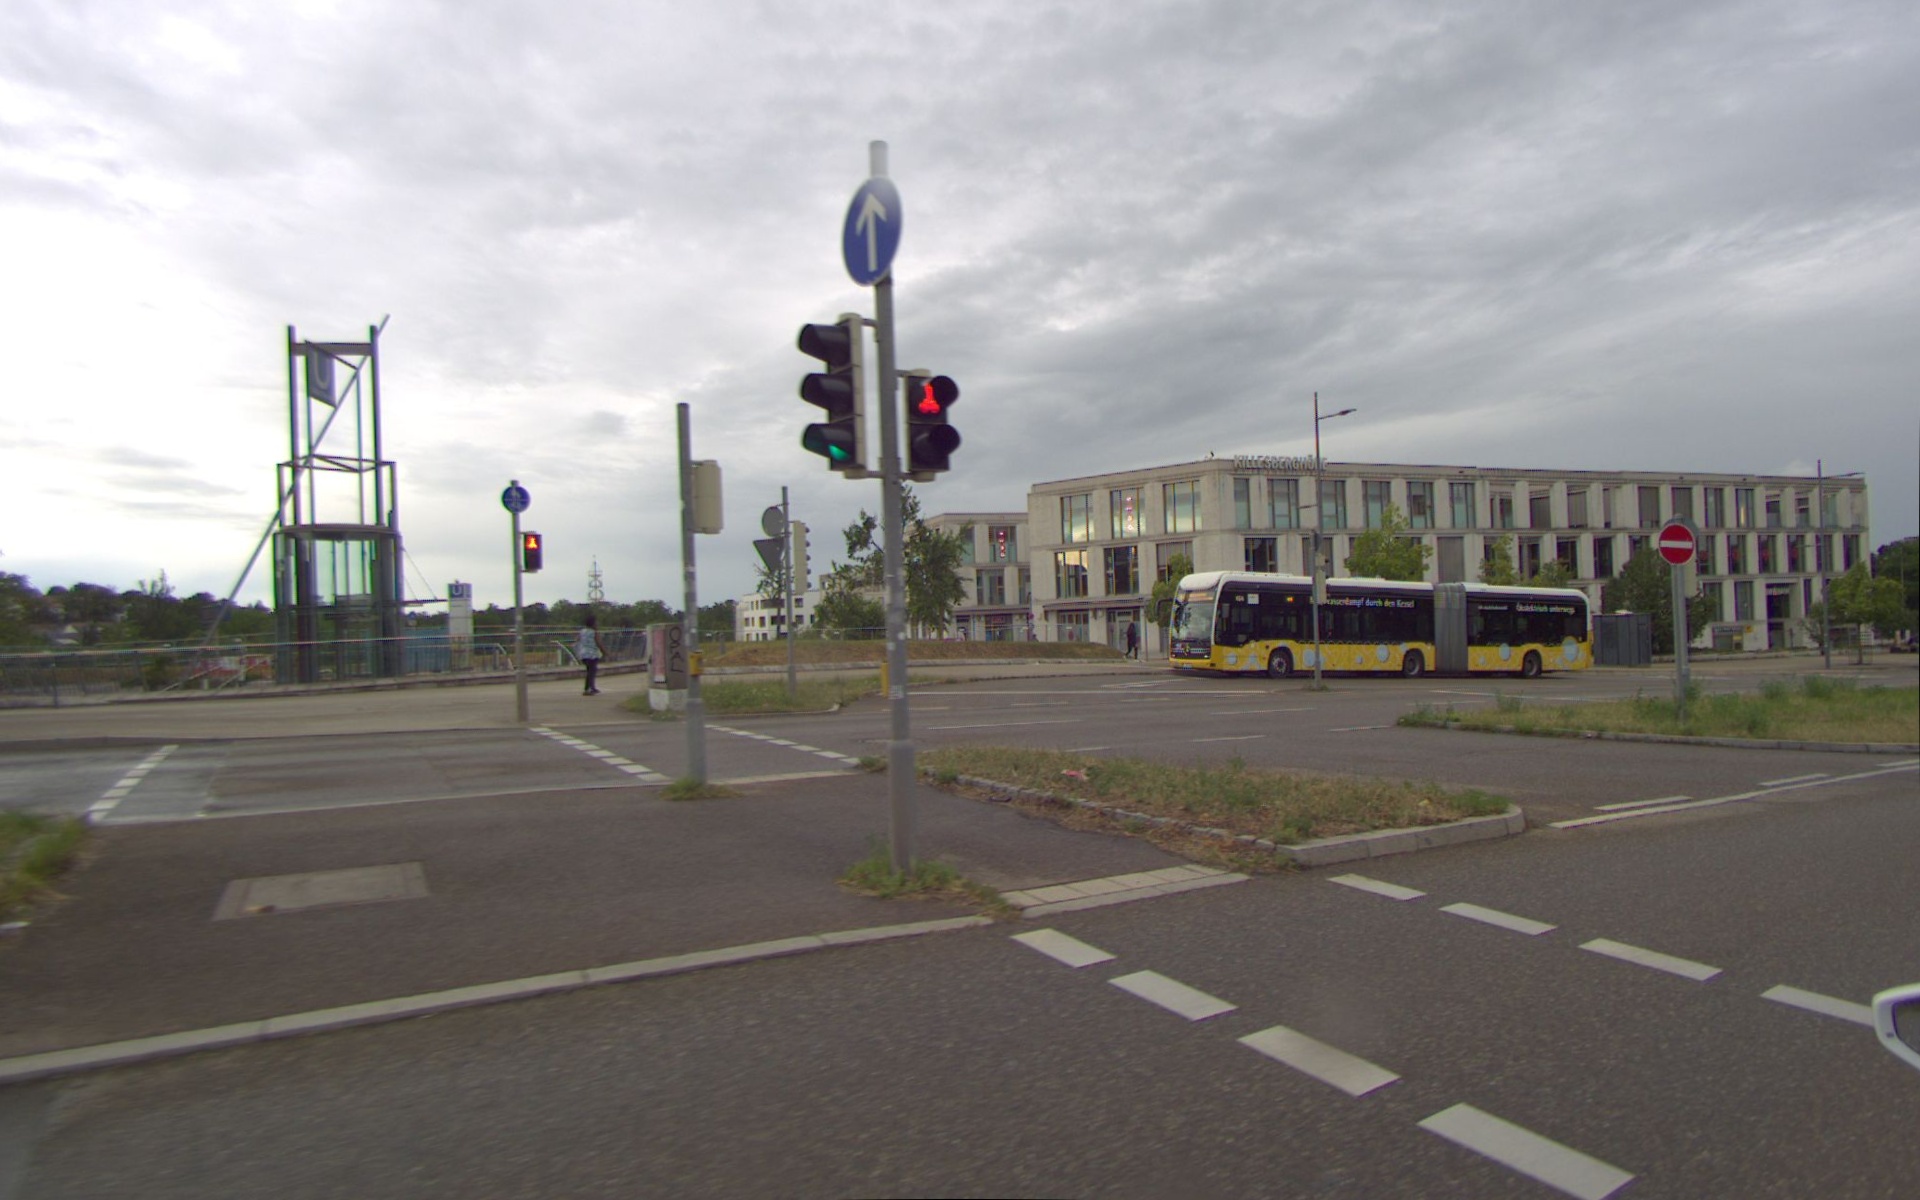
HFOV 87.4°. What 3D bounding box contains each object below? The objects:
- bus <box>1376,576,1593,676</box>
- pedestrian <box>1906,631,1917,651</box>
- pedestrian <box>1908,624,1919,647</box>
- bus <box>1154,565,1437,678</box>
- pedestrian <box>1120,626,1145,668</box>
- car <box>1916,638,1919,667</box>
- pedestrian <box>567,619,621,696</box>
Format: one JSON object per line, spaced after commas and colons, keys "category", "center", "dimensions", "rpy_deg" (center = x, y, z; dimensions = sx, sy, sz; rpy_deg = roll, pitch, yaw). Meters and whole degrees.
{"category": "bus", "center": [19.891, 1.034, 38.003], "dimensions": [8.114, 3.518, 2.815], "rpy_deg": [2, -1, -23]}
{"category": "pedestrian", "center": [70.466, 3.002, 74.410], "dimensions": [0.504, 1.470, 0.424], "rpy_deg": [0, -2, -30]}
{"category": "pedestrian", "center": [71.302, 2.663, 75.101], "dimensions": [0.613, 1.748, 0.424], "rpy_deg": [0, -2, -30]}
{"category": "bus", "center": [11.594, 0.810, 34.410], "dimensions": [9.833, 3.518, 2.815], "rpy_deg": [2, -1, -23]}
{"category": "pedestrian", "center": [7.095, 1.927, 41.349], "dimensions": [0.860, 1.718, 0.558], "rpy_deg": [1, -2, -27]}
{"category": "car", "center": [53.302, 2.823, 54.280], "dimensions": [2.938, 1.528, 1.606], "rpy_deg": [1, -1, -30]}
{"category": "pedestrian", "center": [-7.889, 1.240, 21.675], "dimensions": [0.806, 1.615, 0.673], "rpy_deg": [-2, 0, 21]}
